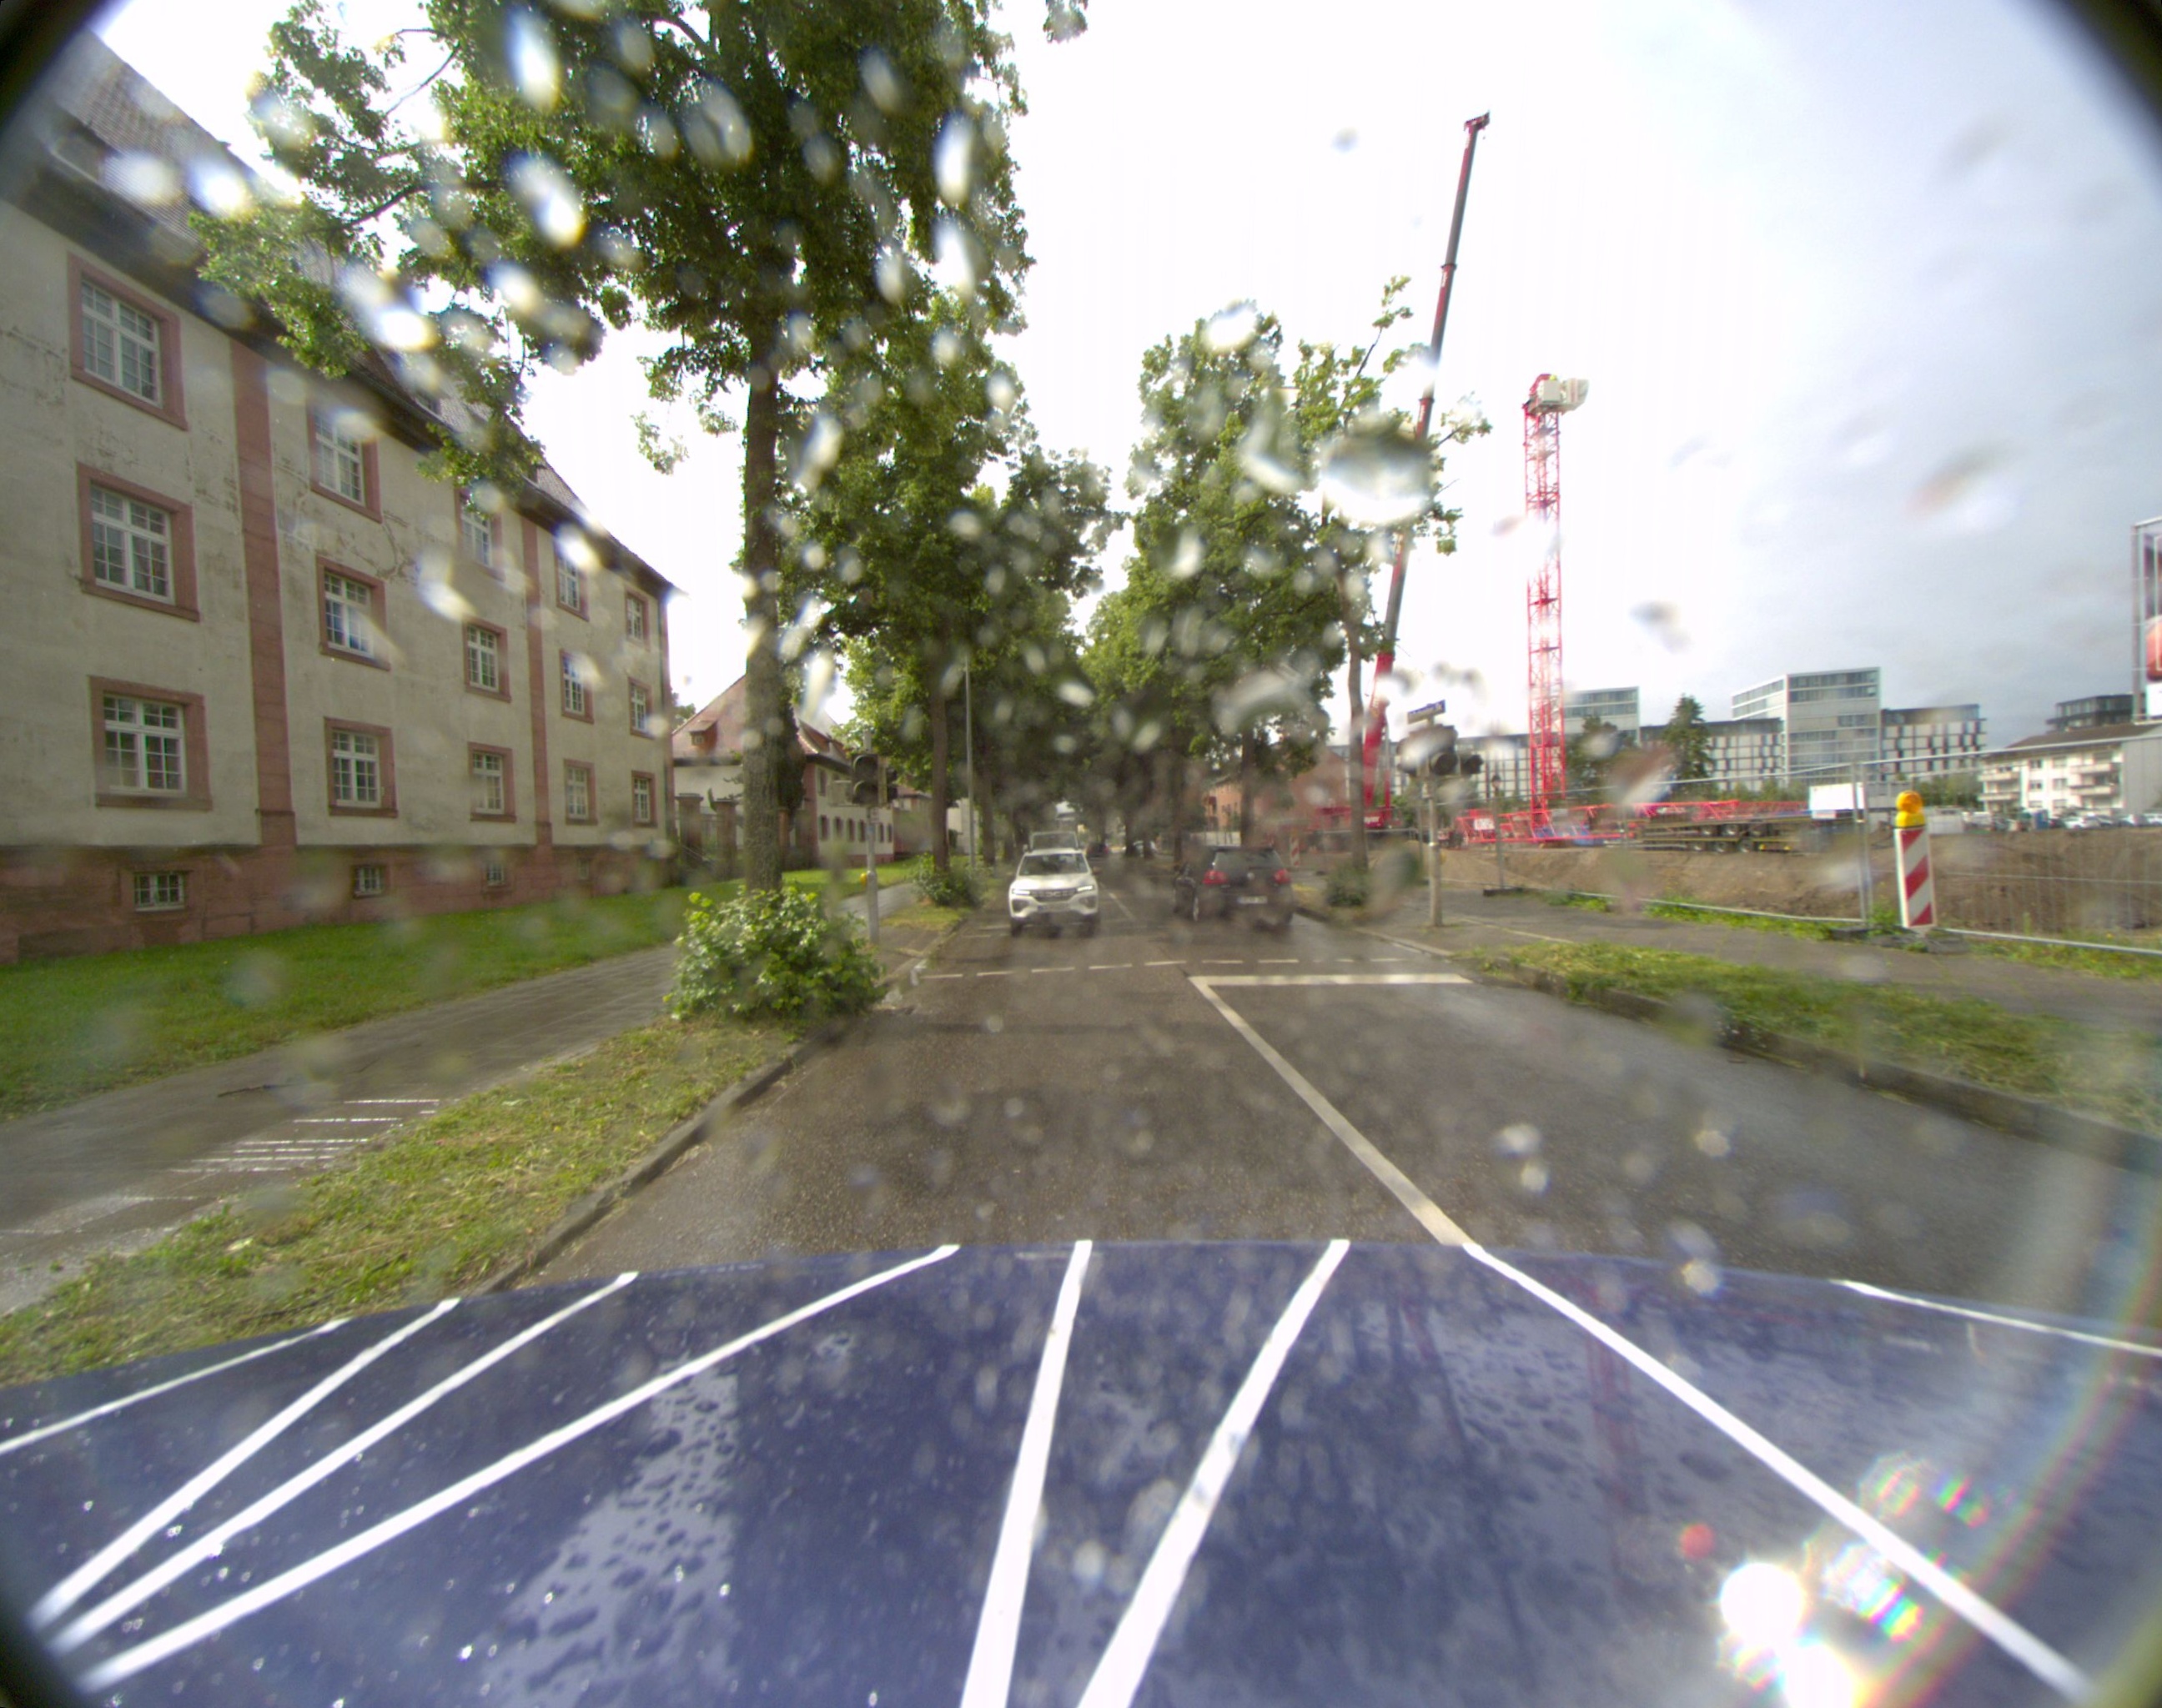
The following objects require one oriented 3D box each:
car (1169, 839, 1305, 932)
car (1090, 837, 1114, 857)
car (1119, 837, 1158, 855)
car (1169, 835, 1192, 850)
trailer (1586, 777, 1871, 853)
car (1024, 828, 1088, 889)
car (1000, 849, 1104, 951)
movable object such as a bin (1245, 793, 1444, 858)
[{"bbox_3d":[2.897,0.503,14.981,1.845,1.599,3.999,0,1,0],"label":"car"},{"bbox_3d":[1.676,-0.622,61.143,1.818,1.532,3.980,-1,1,0],"label":"car"},{"bbox_3d":[5.985,-0.851,79.557,3.869,1.543,1.697,-4,2,2],"label":"car"},{"bbox_3d":[11.054,-1.306,84.482,1.693,1.521,3.997,-4,2,-4],"label":"car"},{"bbox_3d":[34.501,-1.999,42.027,2.968,3.215,14.302,-5,2,-2],"label":"trailer"},{"bbox_3d":[-1.032,0.064,29.195,2.108,1.991,5.430,-4,2,-4],"label":"car"},{"bbox_3d":[-0.518,0.727,14.351,1.609,1.499,3.998,-3,2,-1],"label":"car"},{"bbox_3d":[22.570,-2.466,65.792,15.944,4.533,3.100,-4,2,2],"label":"movable object such as a bin"}]
